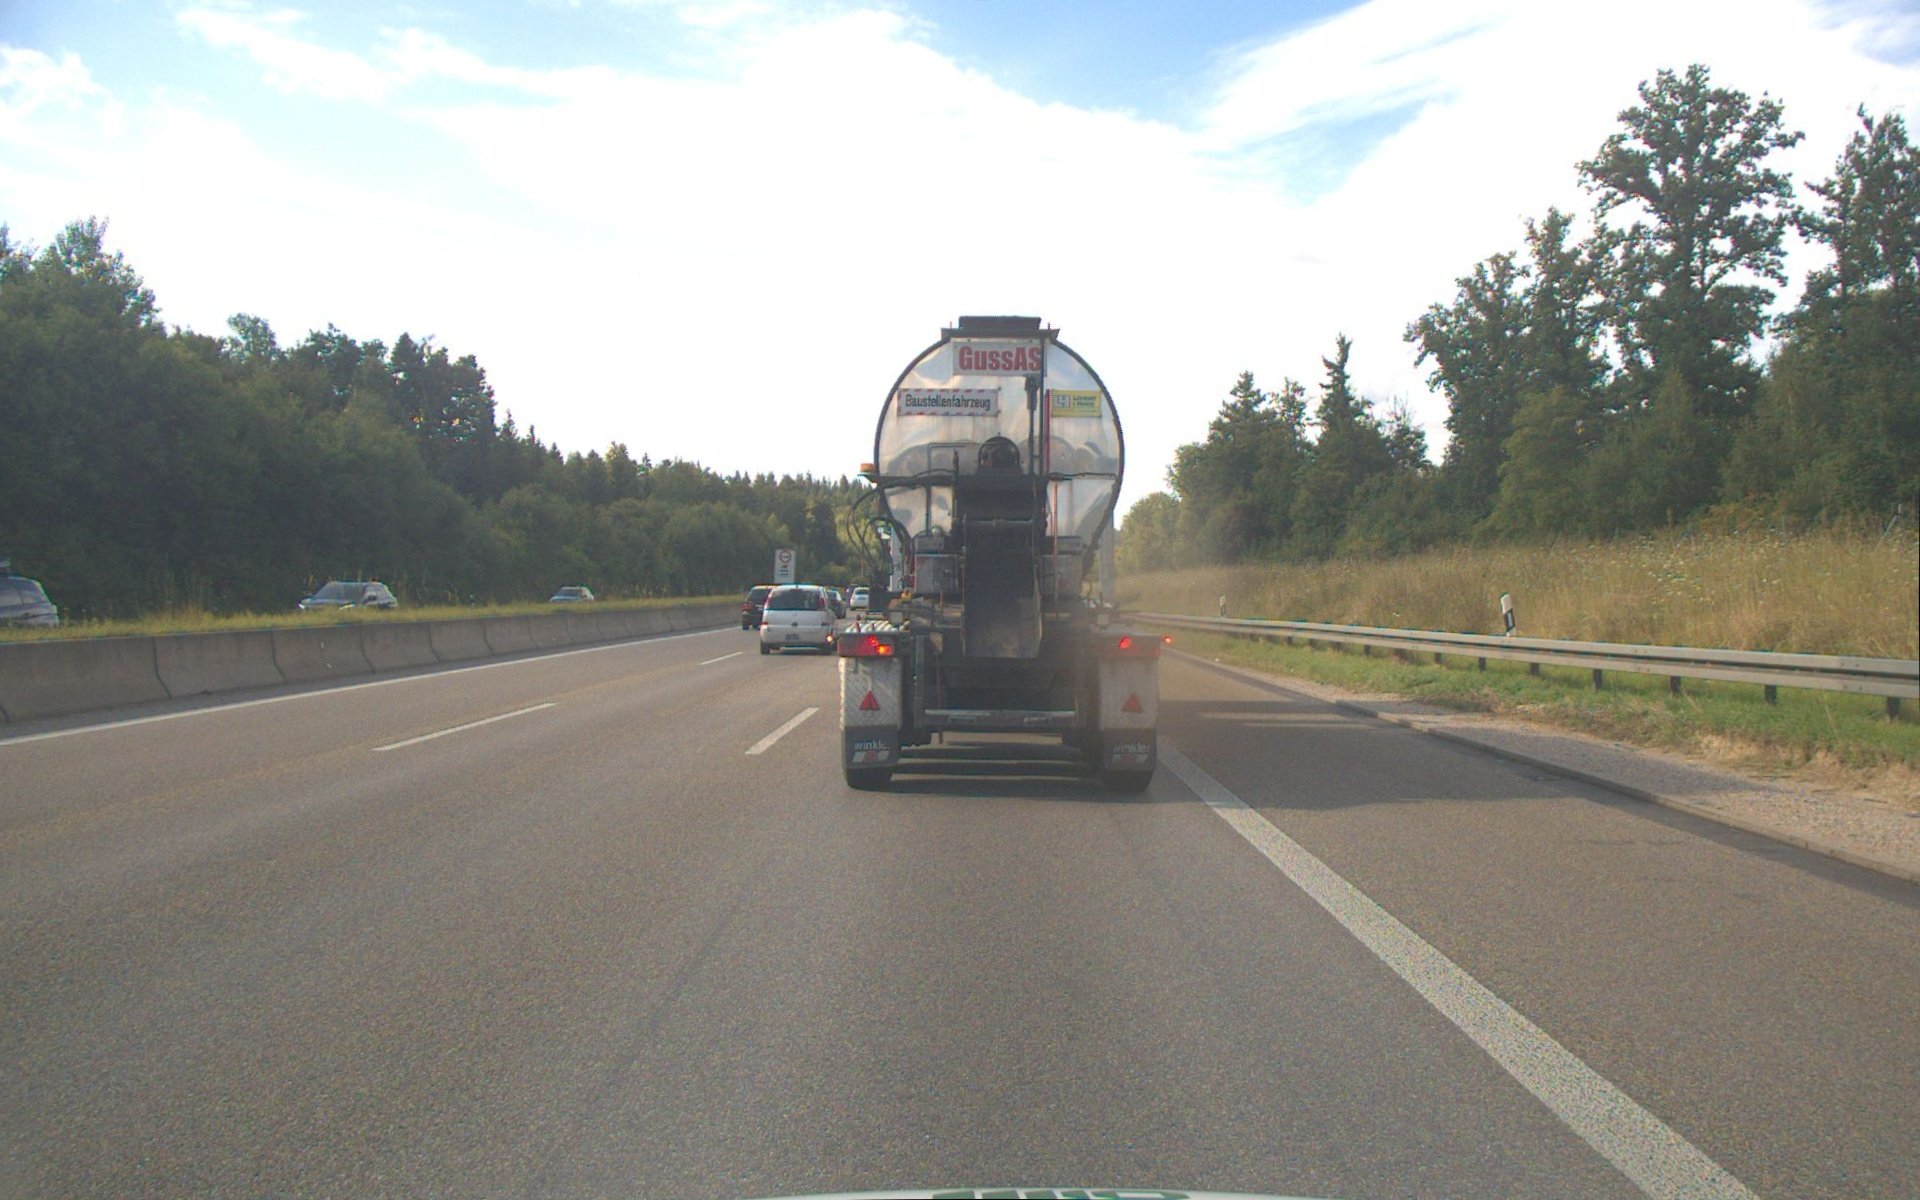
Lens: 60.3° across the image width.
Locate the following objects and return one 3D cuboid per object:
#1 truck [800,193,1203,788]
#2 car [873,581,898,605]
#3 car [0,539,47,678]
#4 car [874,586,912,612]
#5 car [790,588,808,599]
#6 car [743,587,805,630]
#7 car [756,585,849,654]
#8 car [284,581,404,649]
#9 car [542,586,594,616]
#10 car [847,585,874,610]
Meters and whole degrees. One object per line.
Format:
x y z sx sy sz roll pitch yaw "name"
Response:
0.351 -0.822 17.431 2.853 4.230 11.270 0 0 1 "truck"
-5.739 -0.547 127.835 1.808 1.814 3.999 0 0 -1 "car"
-15.134 0.128 23.611 1.953 2.049 4.071 0 0 -1 "car"
-3.970 -0.072 98.660 2.018 1.525 5.736 0 0 0 "car"
-19.359 -0.744 198.715 1.779 1.313 3.544 0 0 0 "car"
-6.875 0.281 61.576 1.798 1.544 4.333 0 0 0 "car"
-3.727 0.430 39.762 1.798 1.544 4.333 0 0 0 "car"
-18.298 0.416 49.375 1.953 1.914 4.437 0 0 -1 "car"
-21.865 0.037 92.453 1.841 1.656 4.570 0 0 0 "car"
-6.526 -0.169 108.994 1.585 1.571 3.519 1 0 0 "car"
